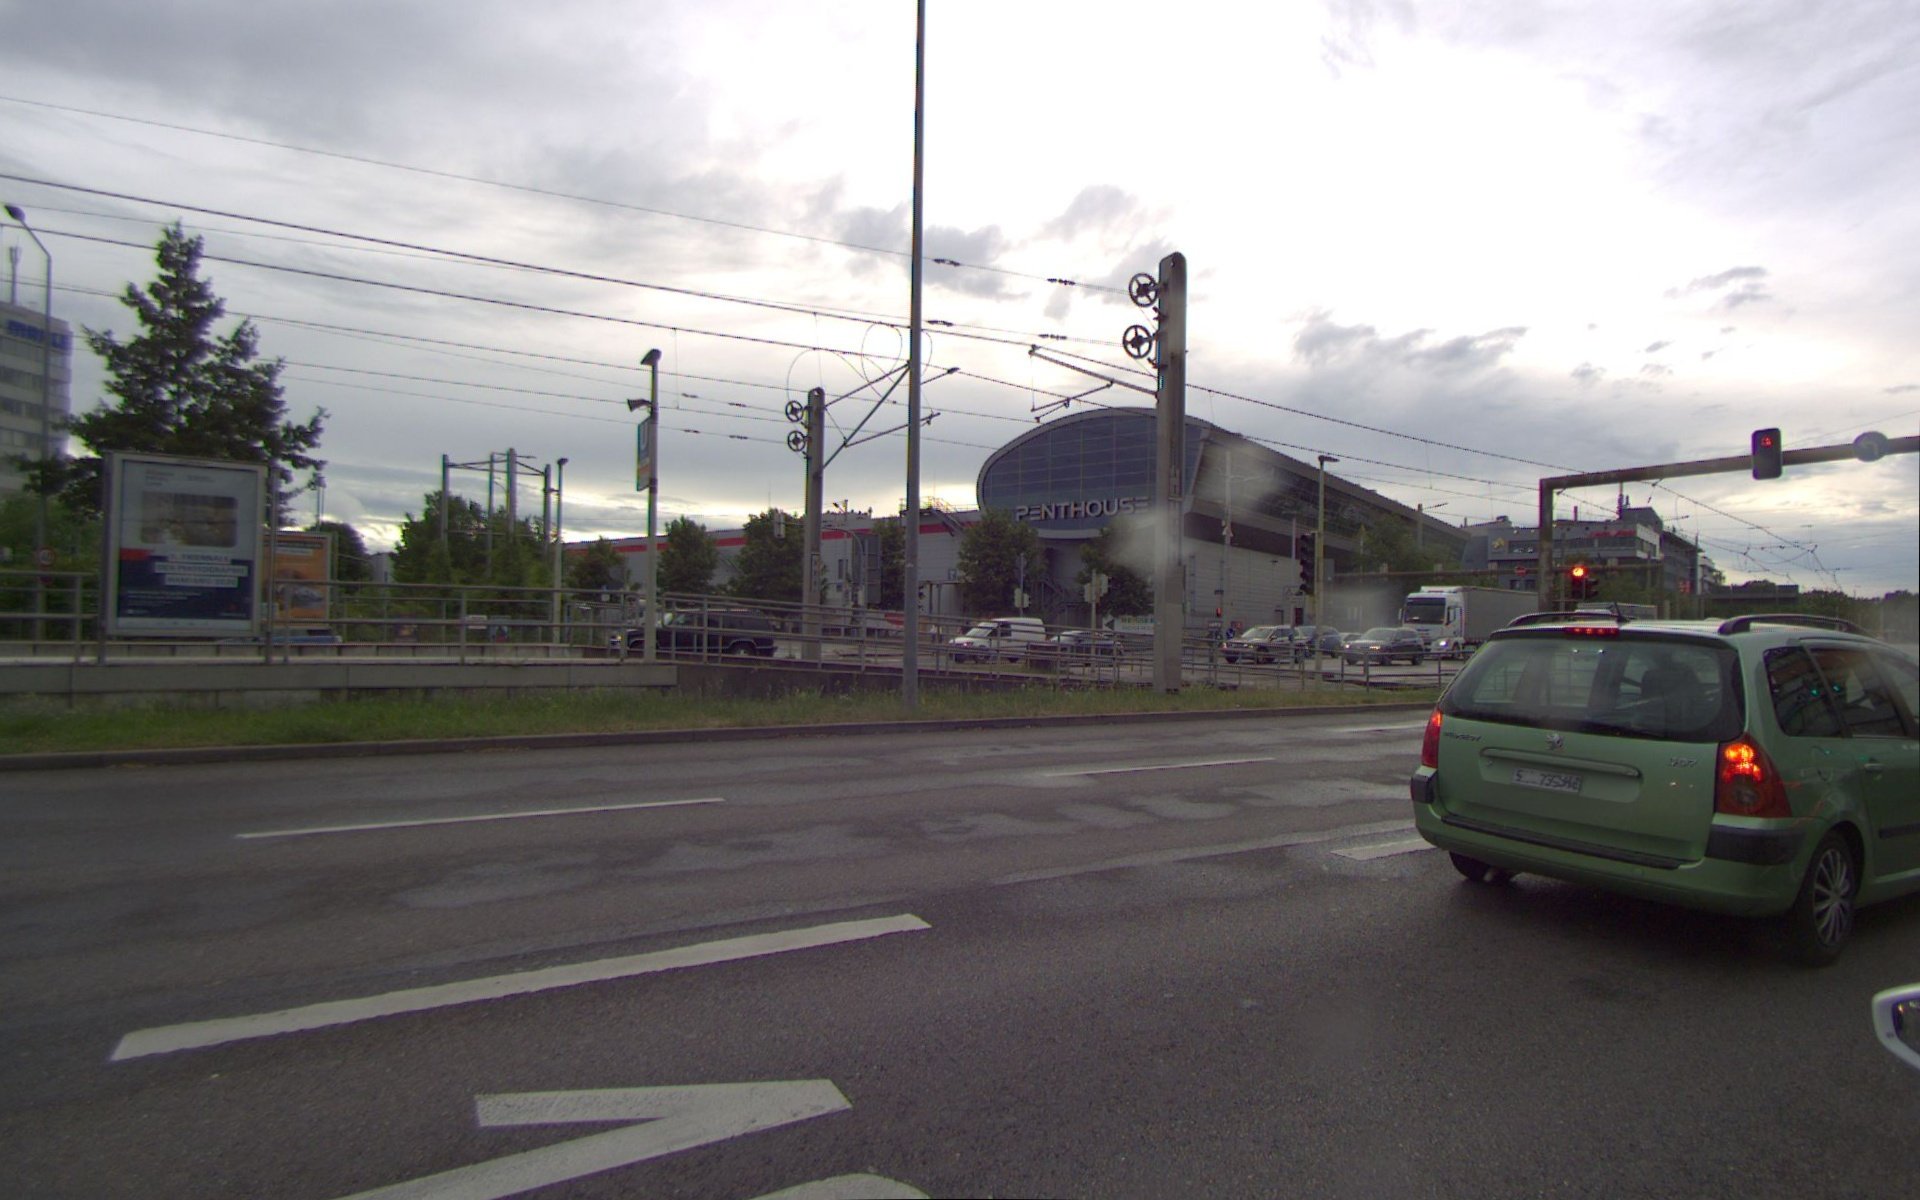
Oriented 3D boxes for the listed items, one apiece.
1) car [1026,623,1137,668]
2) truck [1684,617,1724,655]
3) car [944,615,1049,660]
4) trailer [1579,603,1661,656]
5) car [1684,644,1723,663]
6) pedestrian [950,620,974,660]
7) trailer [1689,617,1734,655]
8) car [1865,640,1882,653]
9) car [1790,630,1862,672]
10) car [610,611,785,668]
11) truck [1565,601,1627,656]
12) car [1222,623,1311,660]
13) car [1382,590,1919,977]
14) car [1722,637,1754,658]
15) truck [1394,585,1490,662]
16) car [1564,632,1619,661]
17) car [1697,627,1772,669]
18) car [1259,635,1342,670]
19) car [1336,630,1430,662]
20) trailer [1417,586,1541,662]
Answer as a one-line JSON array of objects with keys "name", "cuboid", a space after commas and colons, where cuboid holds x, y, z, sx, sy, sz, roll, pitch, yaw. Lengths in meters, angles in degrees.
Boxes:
[{"name": "car", "cuboid": [4.647, 1.743, 38.345, 3.957, 1.522, 1.777, 3, 0, -32]}, {"name": "truck", "cuboid": [78.144, 3.782, 105.483, 2.717, 3.855, 5.381, -2, -4, 43]}, {"name": "car", "cuboid": [1.519, 1.523, 40.667, 4.038, 1.648, 1.563, 3, 0, -32]}, {"name": "trailer", "cuboid": [55.613, 2.581, 84.399, 12.650, 4.178, 2.626, 3, -3, -42]}, {"name": "car", "cuboid": [64.998, 4.664, 87.839, 4.533, 1.576, 1.885, 3, 0, -43]}, {"name": "pedestrian", "cuboid": [0.108, 1.785, 44.791, 0.731, 1.728, 0.721, 3, -1, -33]}, {"name": "trailer", "cuboid": [82.171, 3.990, 109.742, 2.696, 3.905, 11.164, -2, -4, 43]}, {"name": "car", "cuboid": [142.193, 7.244, 156.325, 1.754, 2.040, 4.320, 3, 0, 45]}, {"name": "car", "cuboid": [45.722, 2.671, 52.996, 4.302, 2.040, 1.762, 2, 1, -34]}, {"name": "car", "cuboid": [-7.945, 1.218, 30.585, 4.876, 1.517, 1.668, 3, 0, -31]}, {"name": "truck", "cuboid": [50.514, 2.297, 79.747, 6.142, 4.184, 2.642, 3, -3, -43]}, {"name": "car", "cuboid": [13.614, 1.841, 44.540, 4.116, 1.481, 1.725, 3, 0, -38]}, {"name": "car", "cuboid": [4.573, 0.804, 5.789, 4.354, 1.488, 1.686, 3, 0, -31]}, {"name": "car", "cuboid": [79.607, 4.795, 102.714, 1.973, 1.862, 4.877, 3, 2, 44]}, {"name": "truck", "cuboid": [26.891, 1.316, 55.937, 5.941, 4.049, 2.807, 2, -2, -42]}, {"name": "car", "cuboid": [40.571, 2.984, 64.496, 4.065, 1.674, 1.870, 3, 0, -42]}, {"name": "car", "cuboid": [40.359, 2.466, 52.312, 4.302, 2.040, 1.762, 1, 1, -34]}, {"name": "car", "cuboid": [17.858, 2.749, 52.644, 4.277, 1.650, 1.980, 3, 0, -35]}, {"name": "car", "cuboid": [18.869, 2.062, 44.758, 4.374, 1.281, 1.894, 3, 0, -37]}, {"name": "trailer", "cuboid": [30.958, 1.469, 59.630, 11.358, 4.161, 2.769, 2, -2, -42]}]
